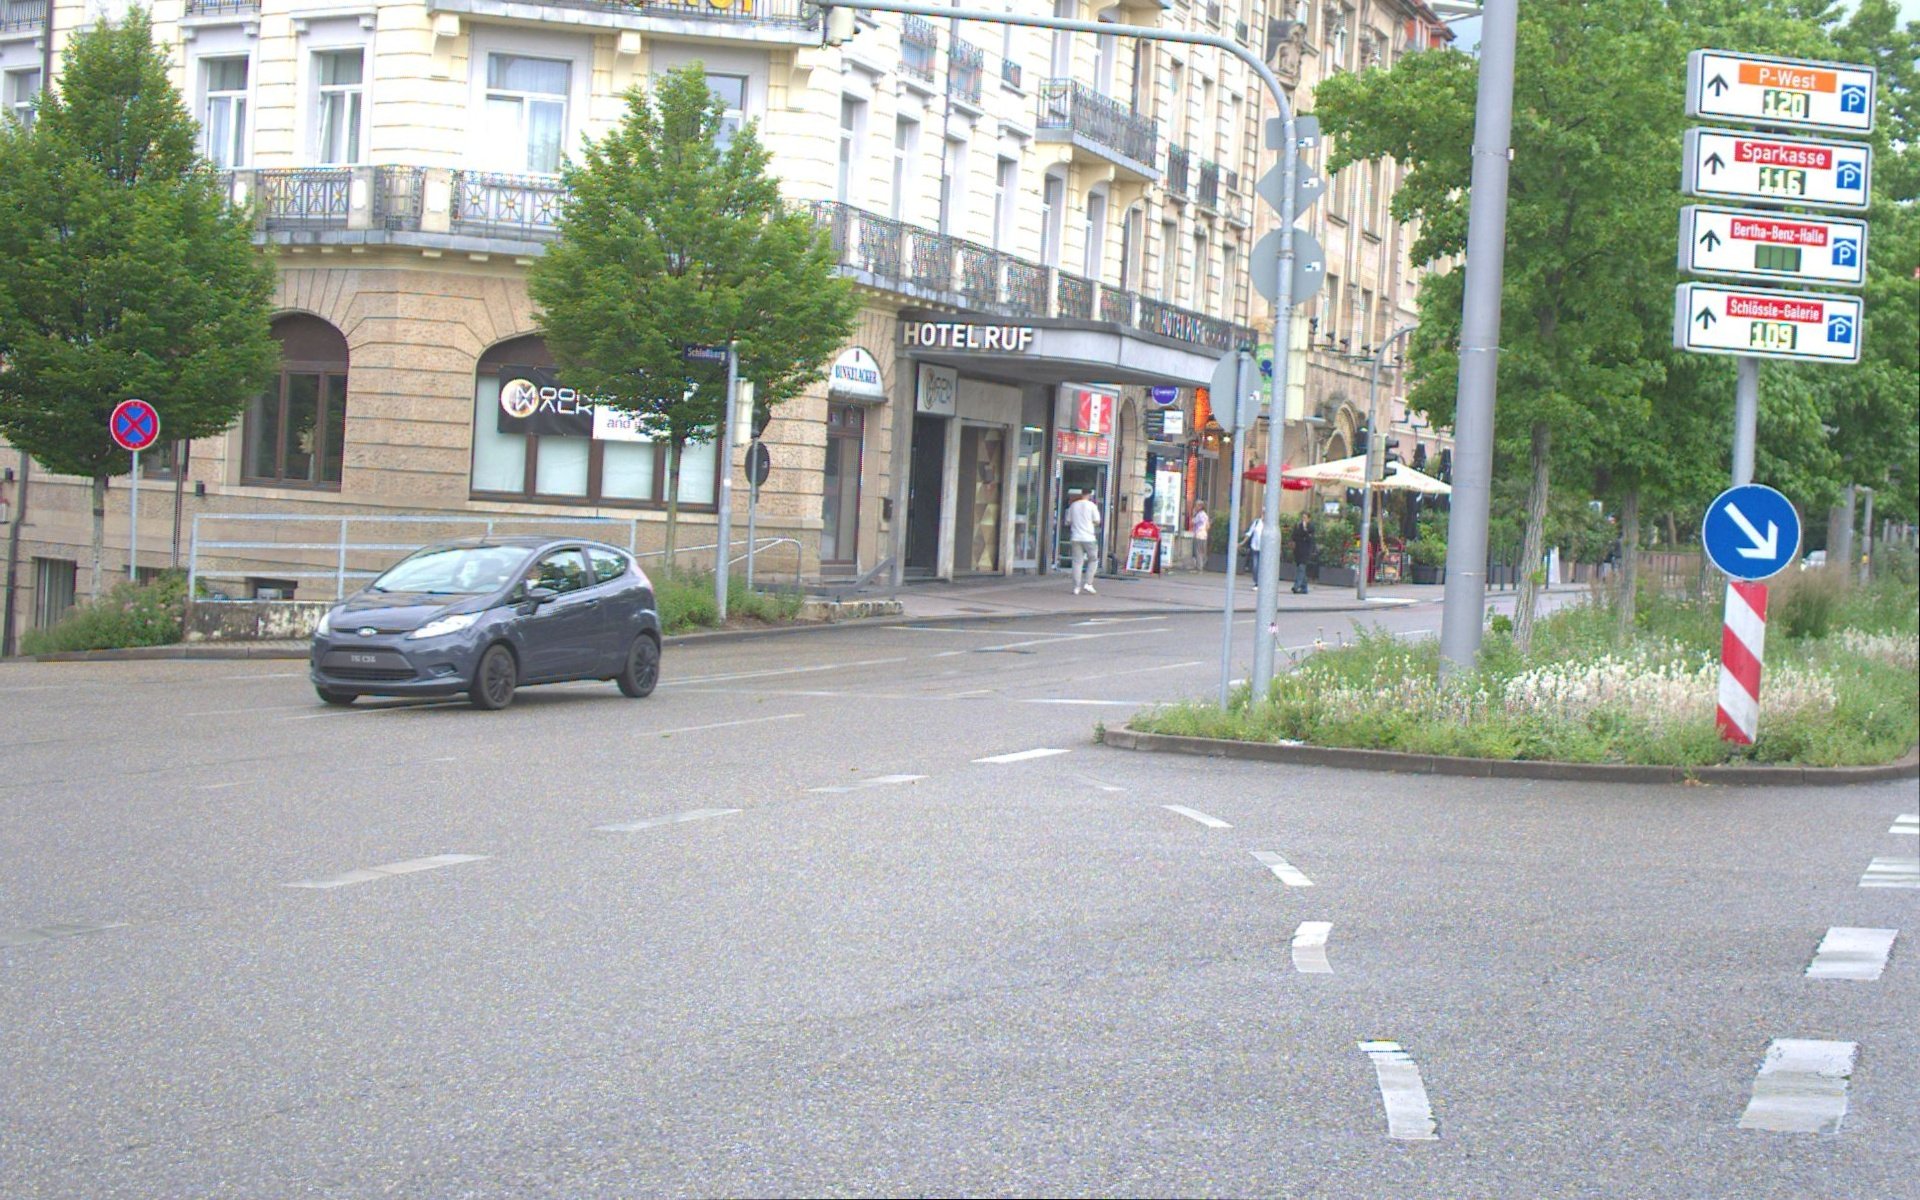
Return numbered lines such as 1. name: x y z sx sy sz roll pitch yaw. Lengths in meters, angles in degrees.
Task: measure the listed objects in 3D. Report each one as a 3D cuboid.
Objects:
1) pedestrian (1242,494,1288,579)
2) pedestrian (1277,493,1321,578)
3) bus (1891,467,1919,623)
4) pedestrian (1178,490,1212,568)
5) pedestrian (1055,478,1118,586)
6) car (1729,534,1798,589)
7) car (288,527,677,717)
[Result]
1. pedestrian: 6.030 -1.246 67.971 0.682 1.658 0.806 1 1 21
2. pedestrian: 6.675 -1.270 67.647 0.682 1.658 0.806 1 1 18
3. bus: 27.045 -1.431 92.697 3.547 3.966 11.163 1 1 16
4. pedestrian: 5.043 -1.520 73.799 0.667 1.658 0.536 1 1 10
5. pedestrian: 2.147 -1.149 58.325 0.880 1.806 0.750 1 1 18
6. car: 30.342 -1.435 129.787 1.995 2.007 4.996 1 1 19
7. car: -4.053 0.157 29.791 1.679 1.507 3.859 1 1 21
